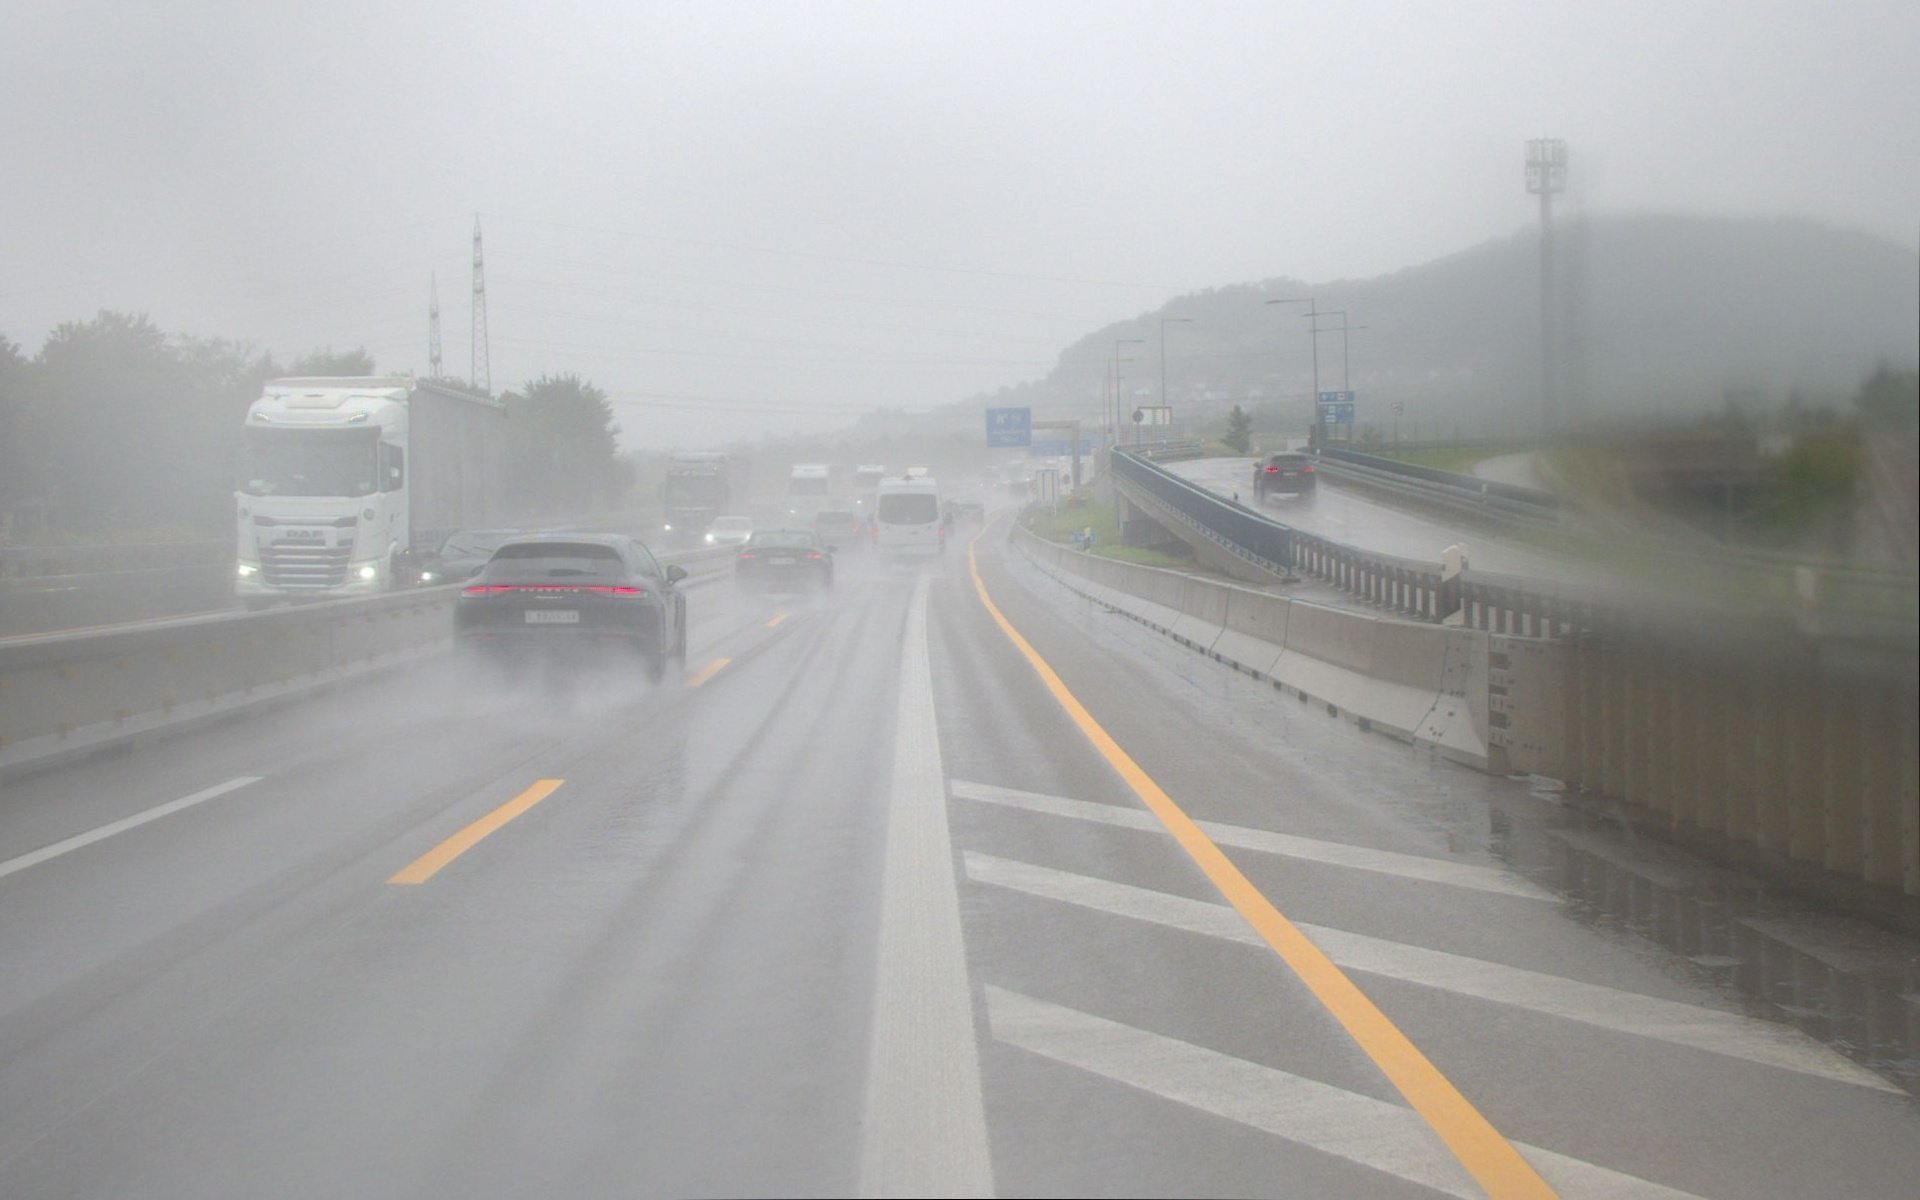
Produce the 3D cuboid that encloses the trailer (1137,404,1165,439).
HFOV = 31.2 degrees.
[{"bbox_3d":[14.676,-13.708,264.718,1.994,2.099,13.768,0,1,3],"label":"trailer"}]

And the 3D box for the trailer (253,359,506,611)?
[{"bbox_3d":[-10.741,-2.053,65.072,2.686,4.263,13.072,0,1,0],"label":"trailer"}]

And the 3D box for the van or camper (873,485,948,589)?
[{"bbox_3d":[-1.374,-1.721,94.206,1.996,2.768,4.050,0,1,-1],"label":"van or camper"}]

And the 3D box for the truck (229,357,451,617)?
[{"bbox_3d":[-10.715,-1.907,60.042,2.708,4.262,6.750,0,1,0],"label":"truck"}]

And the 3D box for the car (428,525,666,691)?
[{"bbox_3d":[-3.911,0.041,33.149,1.844,1.486,4.262,0,1,-1],"label":"car"}]

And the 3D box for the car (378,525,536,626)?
[{"bbox_3d":[-7.803,-0.398,53.644,1.893,1.479,4.000,1,1,-1],"label":"car"}]

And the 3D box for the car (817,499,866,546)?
[{"bbox_3d":[-4.040,-2.639,117.219,1.566,1.475,2.822,-3,0,-1],"label":"car"}]

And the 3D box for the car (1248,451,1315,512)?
[{"bbox_3d":[11.710,-4.320,125.523,1.993,2.135,4.000,0,1,-1],"label":"car"}]

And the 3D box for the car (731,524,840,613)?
[{"bbox_3d":[-3.264,-0.620,64.911,1.844,1.486,4.262,-3,2,-1],"label":"car"}]
